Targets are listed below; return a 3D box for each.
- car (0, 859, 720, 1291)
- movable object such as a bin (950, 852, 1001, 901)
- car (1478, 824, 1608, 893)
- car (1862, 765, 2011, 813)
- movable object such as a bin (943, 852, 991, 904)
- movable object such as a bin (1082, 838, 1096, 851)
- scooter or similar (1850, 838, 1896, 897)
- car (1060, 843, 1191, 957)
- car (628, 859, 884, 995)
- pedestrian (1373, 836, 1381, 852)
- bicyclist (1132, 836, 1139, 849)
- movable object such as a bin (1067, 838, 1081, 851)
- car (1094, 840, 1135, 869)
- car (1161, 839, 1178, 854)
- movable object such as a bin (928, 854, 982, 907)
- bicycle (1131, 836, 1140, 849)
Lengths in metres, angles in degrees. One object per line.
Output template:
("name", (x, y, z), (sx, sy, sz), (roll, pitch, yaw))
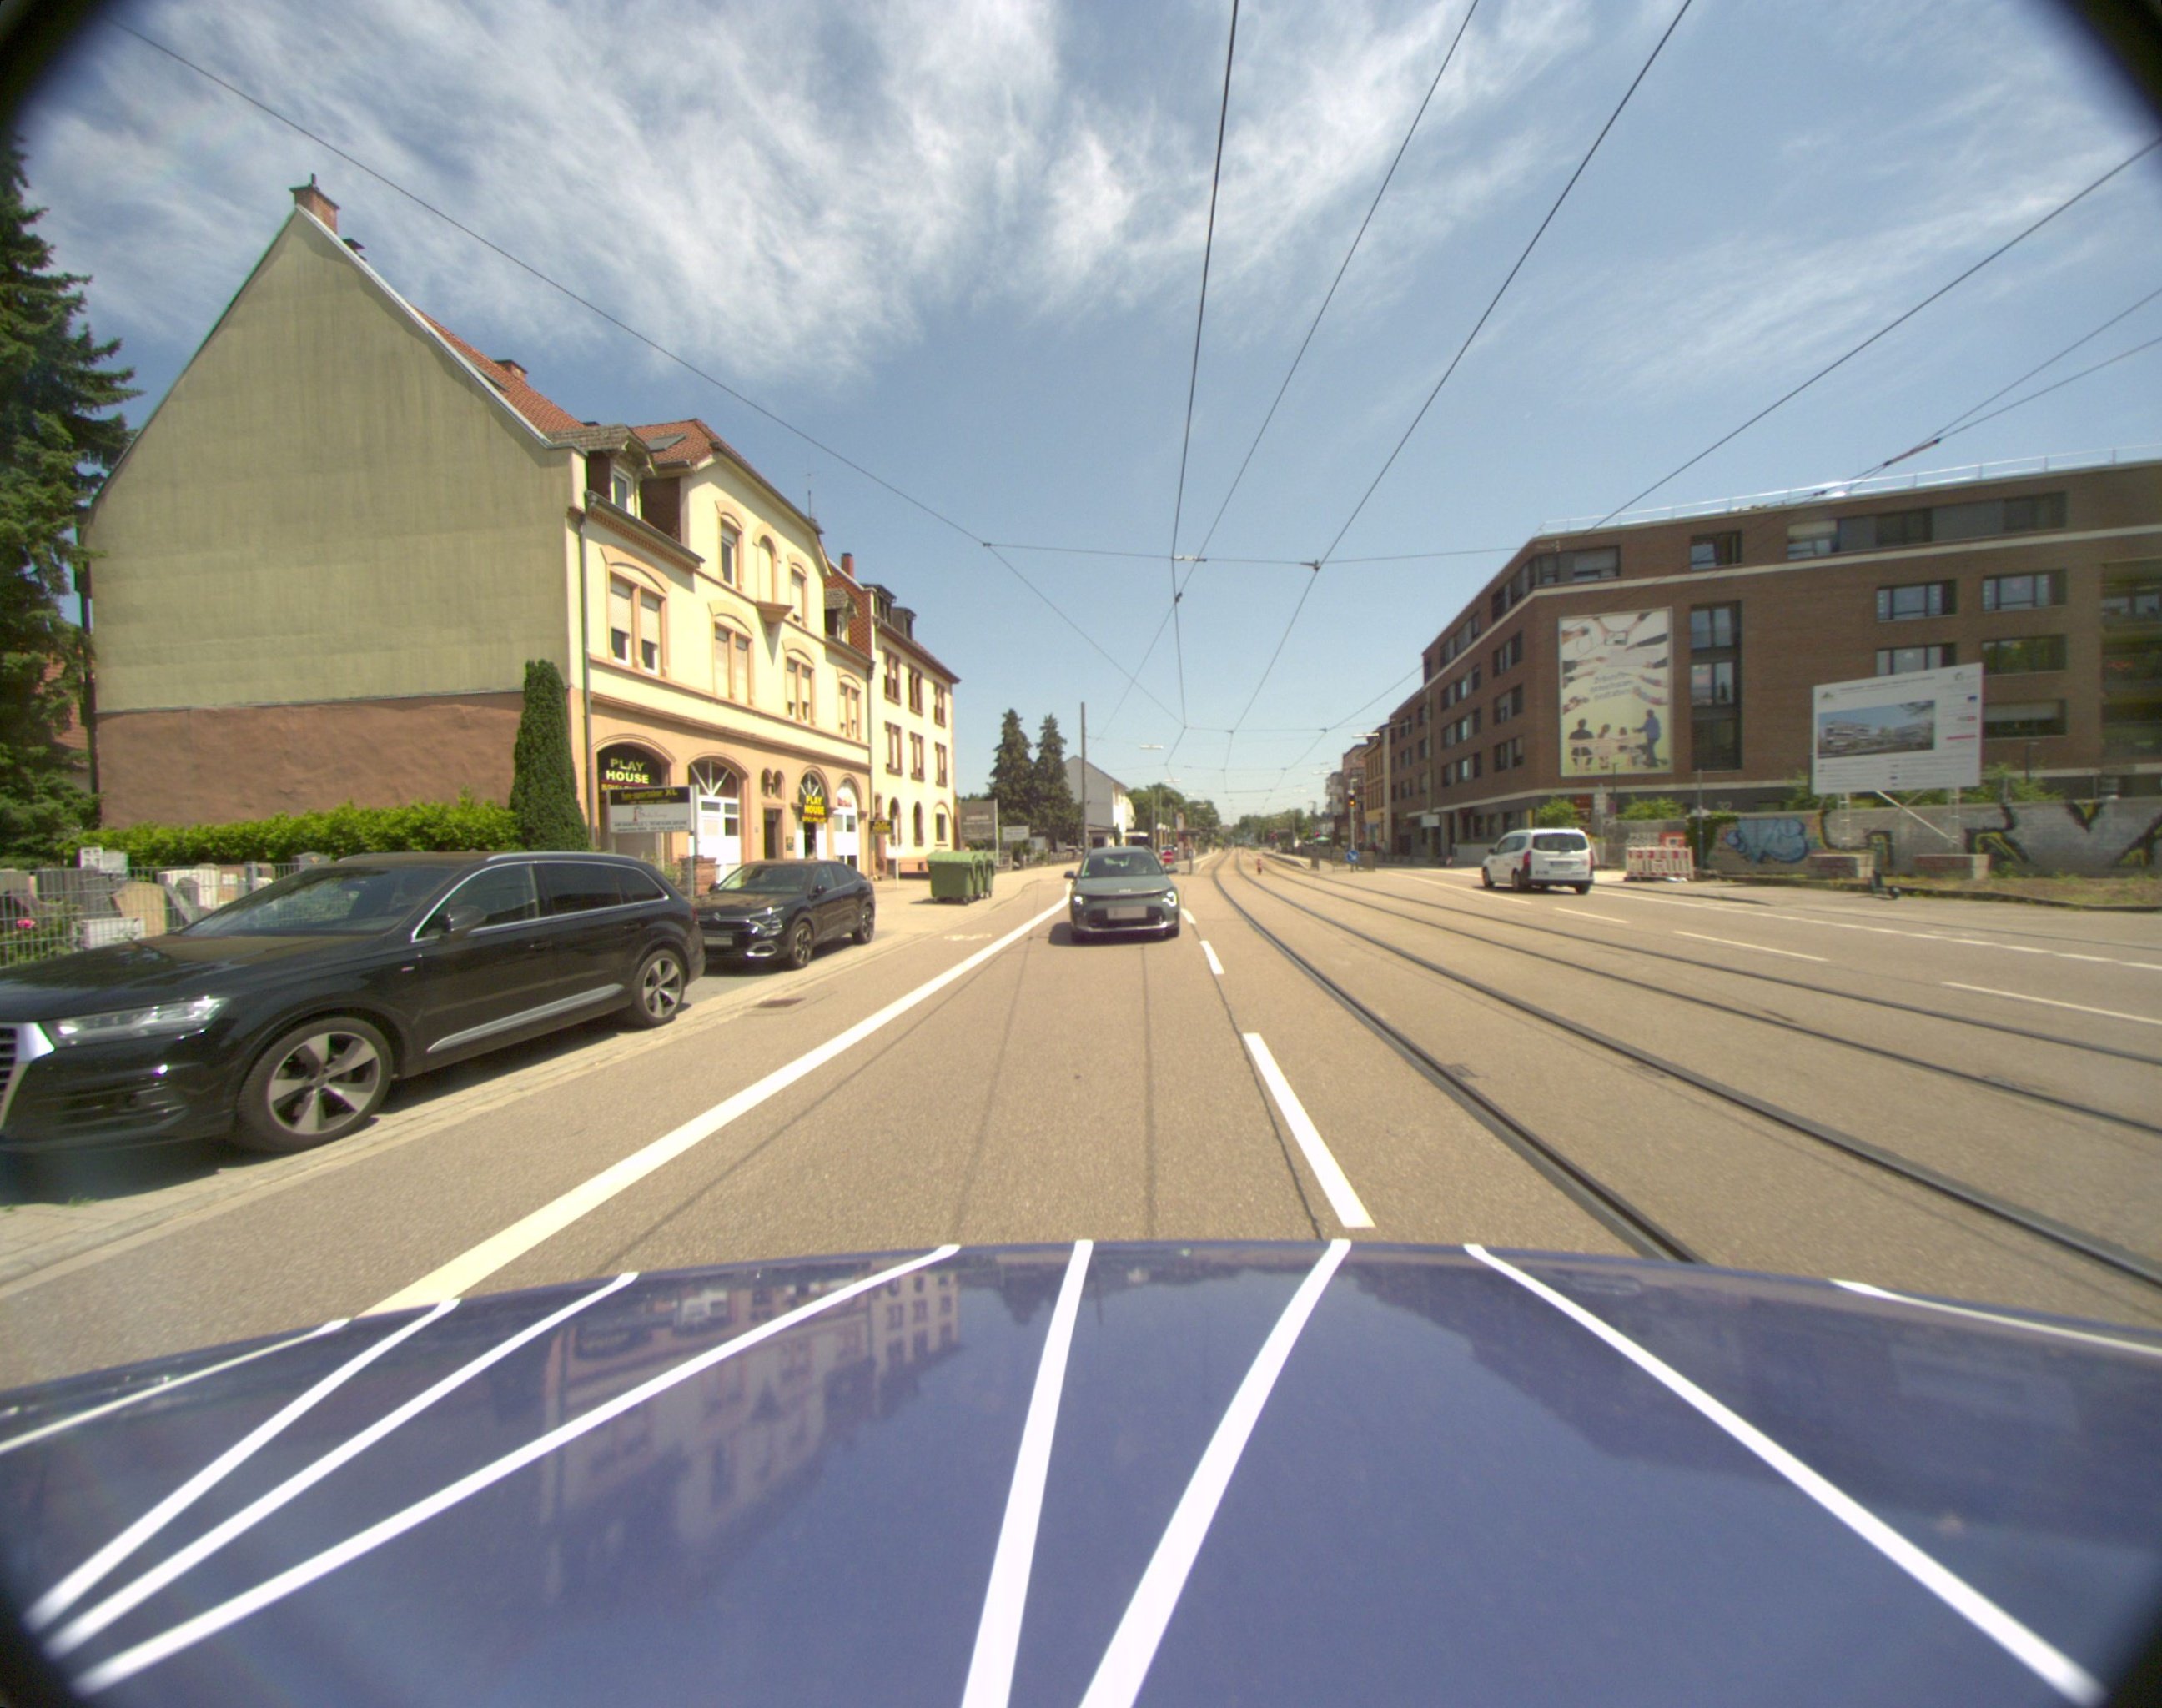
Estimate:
("car", (-5.127, 0.959, 5.820), (1.928, 1.683, 5.082), (0, 1, 5))
("movable object such as a bin", (-3.259, 0.676, 23.584), (1.395, 1.447, 1.139), (1, 2, 1))
("car", (13.391, 0.067, 22.356), (1.996, 1.789, 4.556), (-1, 2, 14))
("car", (31.122, -2.313, 27.825), (1.734, 1.460, 4.004), (-2, 1, 16))
("movable object such as a bin", (-3.352, 0.695, 22.497), (1.250, 1.447, 1.057), (1, 2, 1))
("movable object such as a bin", (0.944, -1.139, 91.880), (1.389, 1.473, 1.152), (-1, 1, 12))
("scooter or similar", (17.879, 0.290, 17.170), (0.345, 1.257, 1.244), (-2, 1, 29))
("car", (0.734, 0.625, 13.087), (1.827, 1.547, 4.487), (-2, 1, 3))
("car", (-4.695, 0.936, 11.838), (1.776, 1.539, 4.467), (0, 2, 4))
("pedestrian", (29.382, -1.034, 75.477), (0.604, 1.587, 0.715), (-1, 2, 9))
("bicyclist", (8.181, -1.696, 113.713), (0.790, 1.864, 0.888), (2, 2, 19))
("movable object such as a bin", (-0.866, -1.144, 92.322), (1.389, 1.473, 1.152), (-1, 1, 16))
("car", (2.032, -0.014, 44.453), (1.747, 1.547, 4.490), (-3, 1, 10))
("car", (9.724, -0.853, 83.632), (1.748, 1.547, 4.488), (-3, 1, 6))
("movable object such as a bin", (-3.536, 0.731, 21.433), (1.327, 1.447, 1.057), (1, 2, 1))
("bicycle", (8.222, -1.694, 113.867), (0.799, 1.889, 1.961), (2, 2, 19))
